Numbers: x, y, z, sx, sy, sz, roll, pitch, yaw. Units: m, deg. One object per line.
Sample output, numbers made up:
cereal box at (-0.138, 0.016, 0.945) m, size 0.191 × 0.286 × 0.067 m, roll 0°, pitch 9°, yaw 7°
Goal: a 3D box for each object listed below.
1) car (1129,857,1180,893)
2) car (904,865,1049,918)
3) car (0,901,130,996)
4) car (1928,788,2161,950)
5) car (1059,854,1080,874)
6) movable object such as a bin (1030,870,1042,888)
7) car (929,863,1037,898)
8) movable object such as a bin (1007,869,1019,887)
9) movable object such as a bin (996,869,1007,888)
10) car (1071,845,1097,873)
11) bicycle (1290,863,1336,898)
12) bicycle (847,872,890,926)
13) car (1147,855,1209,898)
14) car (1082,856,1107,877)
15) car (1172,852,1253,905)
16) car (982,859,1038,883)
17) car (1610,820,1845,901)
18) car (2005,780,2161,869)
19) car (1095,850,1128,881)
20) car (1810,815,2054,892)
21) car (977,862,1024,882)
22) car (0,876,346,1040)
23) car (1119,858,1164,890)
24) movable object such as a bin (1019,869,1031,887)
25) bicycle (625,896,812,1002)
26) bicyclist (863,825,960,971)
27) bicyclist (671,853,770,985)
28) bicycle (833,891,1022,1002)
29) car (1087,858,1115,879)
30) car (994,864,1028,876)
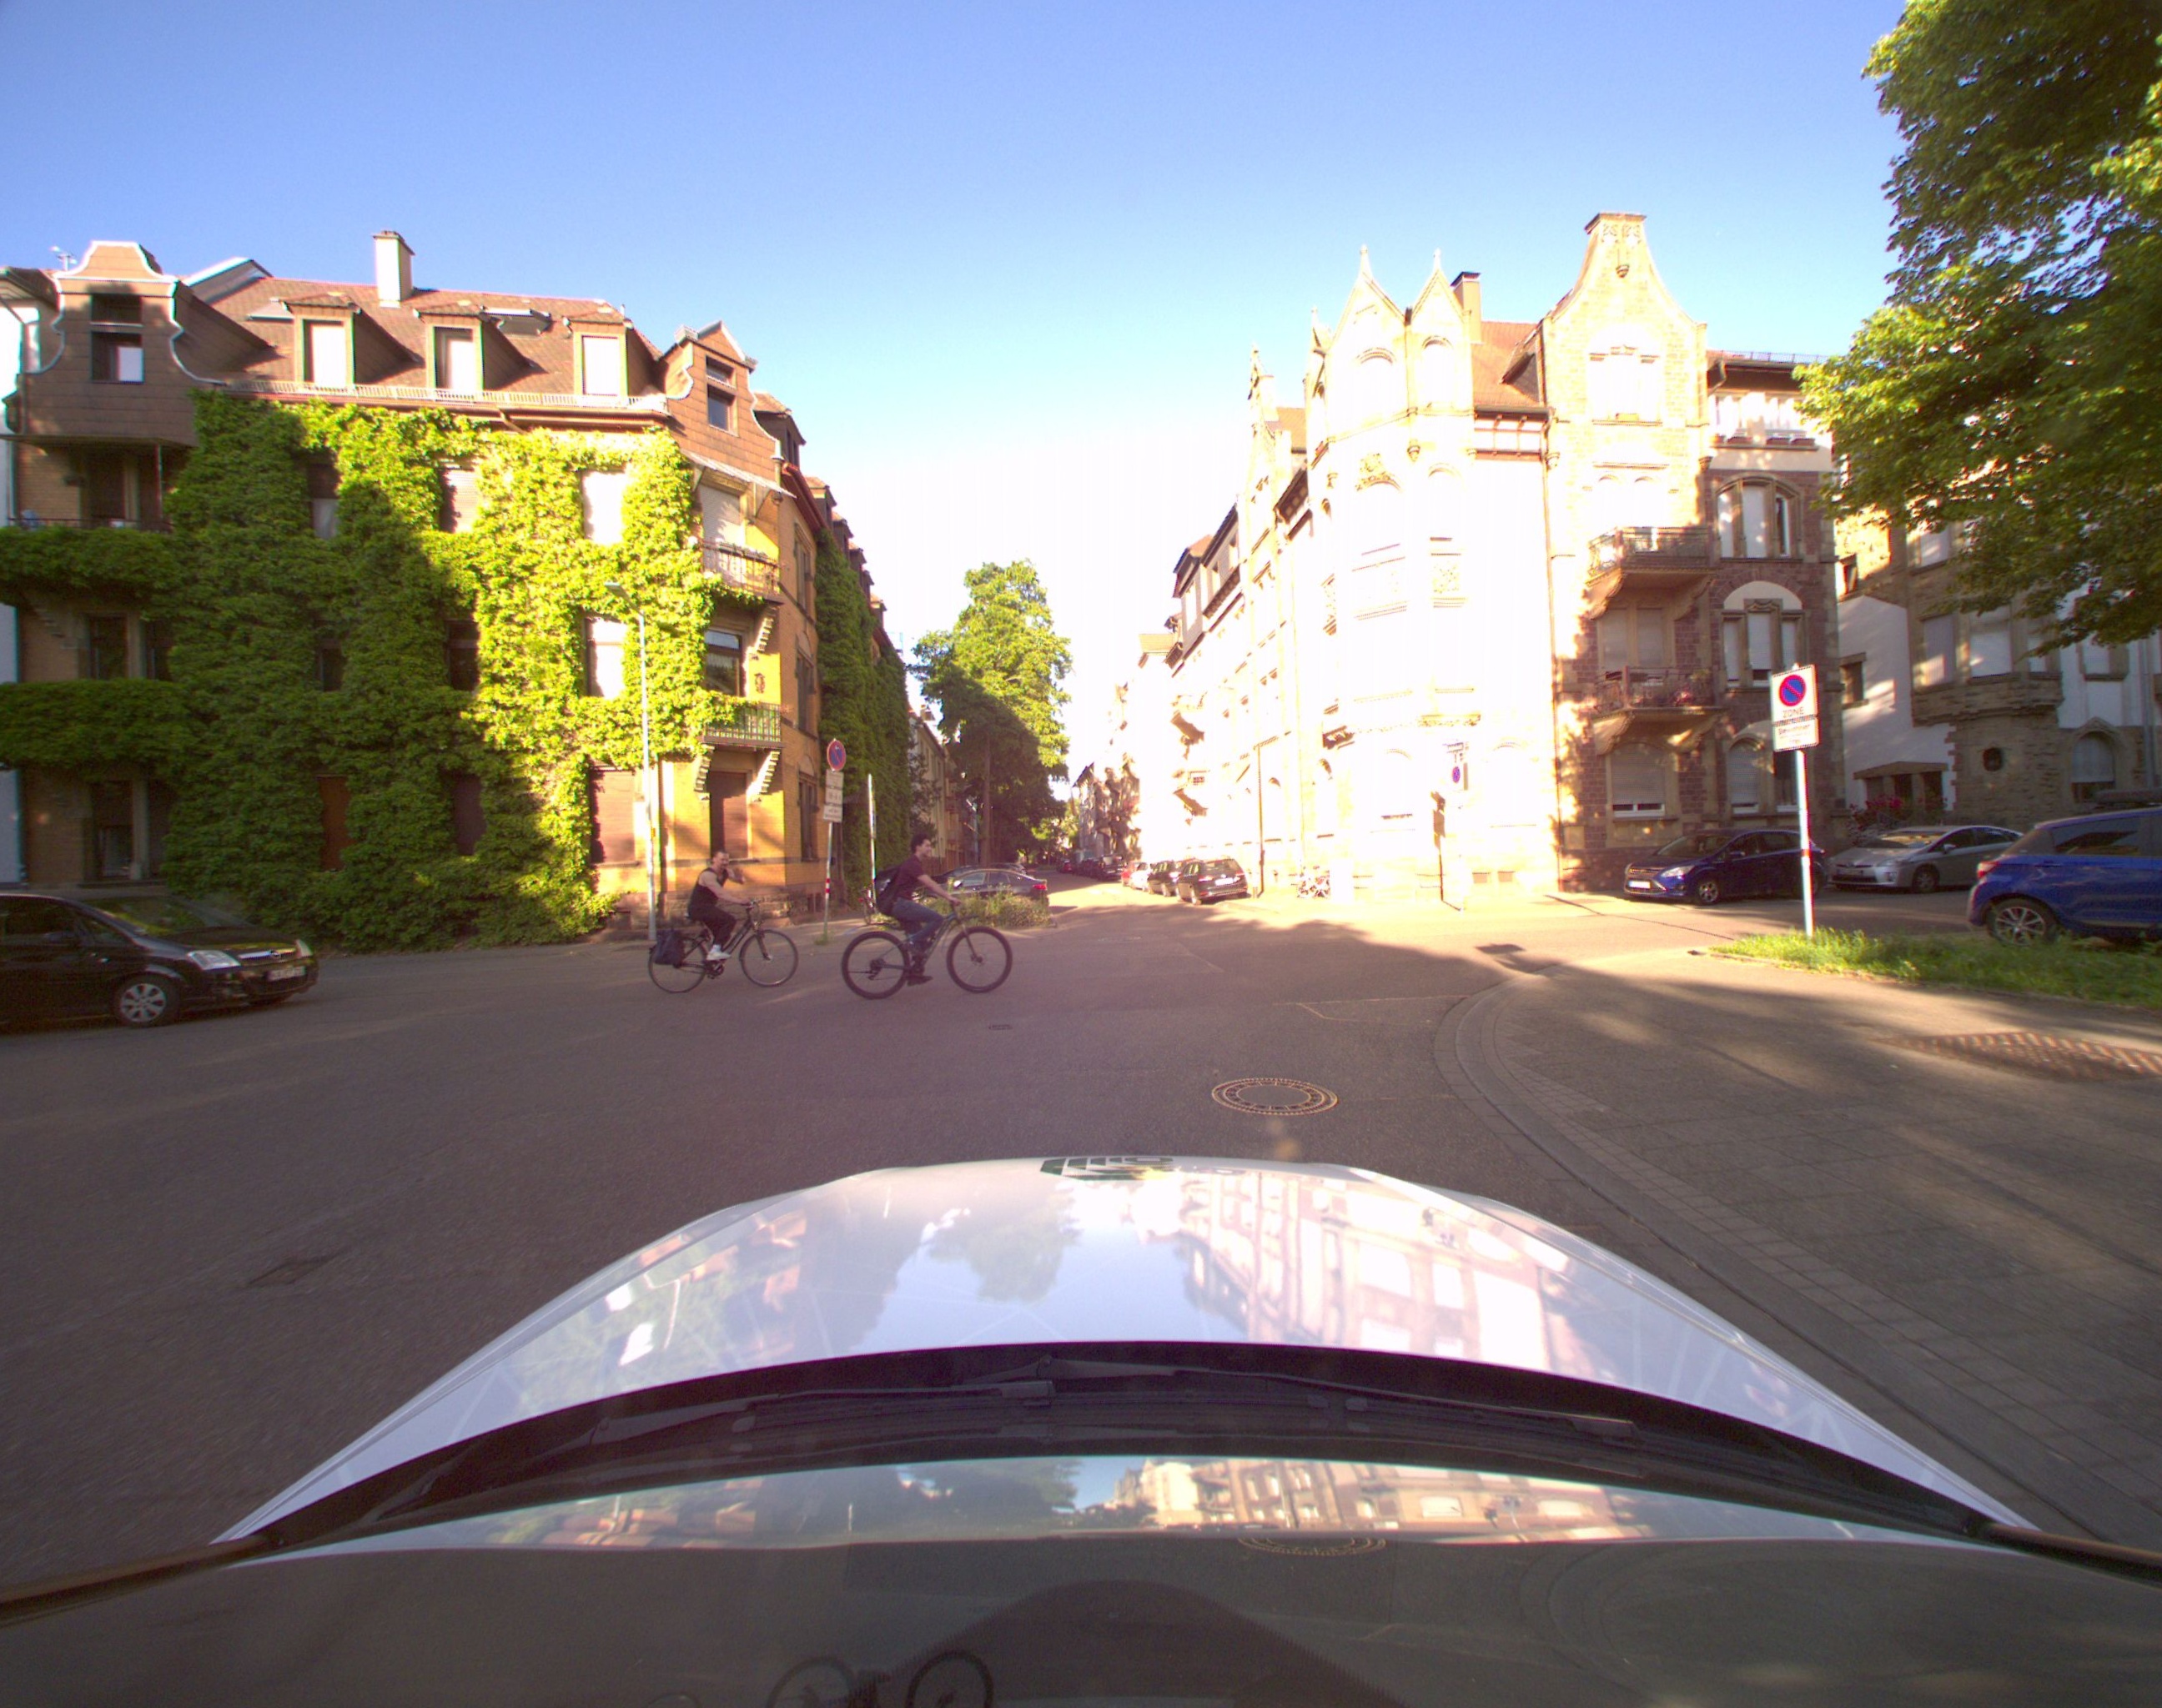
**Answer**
car at (3.448, 0.959, 38.748) m, size 1.735 × 1.581 × 3.993 m, roll -1°, pitch -1°, yaw -5°
car at (-3.203, 1.129, 25.319) m, size 4.239 × 1.435 × 1.995 m, roll -1°, pitch -1°, yaw -7°
car at (-19.895, 1.690, 13.738) m, size 4.906 × 1.404 × 1.878 m, roll -3°, pitch 1°, yaw -8°
car at (11.348, 0.118, 7.829) m, size 1.993 × 1.556 × 3.987 m, roll -1°, pitch -2°, yaw -9°
car at (-1.371, 1.194, 98.129) m, size 2.162 × 2.237 × 4.782 m, roll -1°, pitch -1°, yaw -5°
movable object such as a bin at (-2.691, 1.492, 49.050) m, size 0.629 × 1.053 × 0.566 m, roll -1°, pitch -1°, yaw -11°
car at (-4.487, 1.218, 37.720) m, size 4.830 × 1.435 × 1.706 m, roll -1°, pitch -1°, yaw -7°
movable object such as a bin at (-4.082, 1.448, 48.797) m, size 0.629 × 1.053 × 0.566 m, roll -1°, pitch -1°, yaw -11°
movable object such as a bin at (-4.740, 1.459, 48.730) m, size 0.598 × 1.153 × 0.485 m, roll -1°, pitch -1°, yaw -11°
car at (0.245, 0.497, 81.099) m, size 2.162 × 2.691 × 4.782 m, roll -1°, pitch -1°, yaw -5°
bicycle at (6.734, 0.761, 23.755) m, size 0.515 × 0.998 × 1.567 m, roll -1°, pitch -1°, yaw -16°
bicycle at (-5.459, 1.132, 20.989) m, size 0.561 × 1.268 × 1.604 m, roll -3°, pitch 0°, yaw 3°
car at (3.911, 0.891, 33.366) m, size 1.735 × 1.581 × 3.993 m, roll -1°, pitch -1°, yaw -5°
car at (1.144, 1.069, 70.923) m, size 1.800 × 1.679 × 3.993 m, roll -1°, pitch -1°, yaw -5°
car at (4.279, 0.784, 27.116) m, size 1.735 × 1.581 × 3.993 m, roll -1°, pitch -1°, yaw -5°
car at (-4.989, 1.160, 56.966) m, size 3.800 × 1.575 × 1.705 m, roll -1°, pitch -1°, yaw -9°
car at (14.441, 0.111, 18.282) m, size 4.244 × 1.622 × 1.730 m, roll -1°, pitch 1°, yaw -10°
car at (25.655, -0.766, 19.911) m, size 4.482 × 1.974 × 1.969 m, roll -3°, pitch 1°, yaw -10°
car at (2.060, 0.765, 55.861) m, size 1.800 × 2.004 × 3.993 m, roll -1°, pitch -1°, yaw -5°
car at (19.721, -0.040, 18.944) m, size 4.440 × 1.498 × 1.730 m, roll -3°, pitch 1°, yaw -10°
car at (-6.587, 1.471, 66.800) m, size 3.798 × 1.575 × 1.706 m, roll -1°, pitch -1°, yaw -7°
car at (-11.527, 1.181, 9.536) m, size 4.005 × 1.590 × 1.645 m, roll -3°, pitch 1°, yaw -9°
car at (3.165, 1.014, 43.276) m, size 1.735 × 1.581 × 3.993 m, roll -1°, pitch -1°, yaw -5°
movable object such as a bin at (-3.391, 1.445, 48.958) m, size 0.629 × 1.053 × 0.566 m, roll -1°, pitch -1°, yaw -11°
bicycle at (-4.449, 1.147, 10.134) m, size 1.964 × 1.073 × 0.695 m, roll -4°, pitch 0°, yaw -13°
bicyclist at (-1.860, 0.471, 9.046) m, size 0.968 × 1.527 × 0.719 m, roll -1°, pitch -1°, yaw -8°
bicyclist at (-4.413, 0.772, 10.034) m, size 0.970 × 1.527 × 0.705 m, roll -1°, pitch -1°, yaw -14°
bicycle at (-1.663, 0.996, 9.005) m, size 1.961 × 1.072 × 0.556 m, roll -1°, pitch 2°, yaw -8°
car at (1.548, 1.144, 64.133) m, size 1.800 × 1.514 × 3.993 m, roll -1°, pitch -1°, yaw -5°
car at (-7.939, 1.771, 92.862) m, size 3.798 × 1.240 × 1.706 m, roll -1°, pitch -1°, yaw -7°
